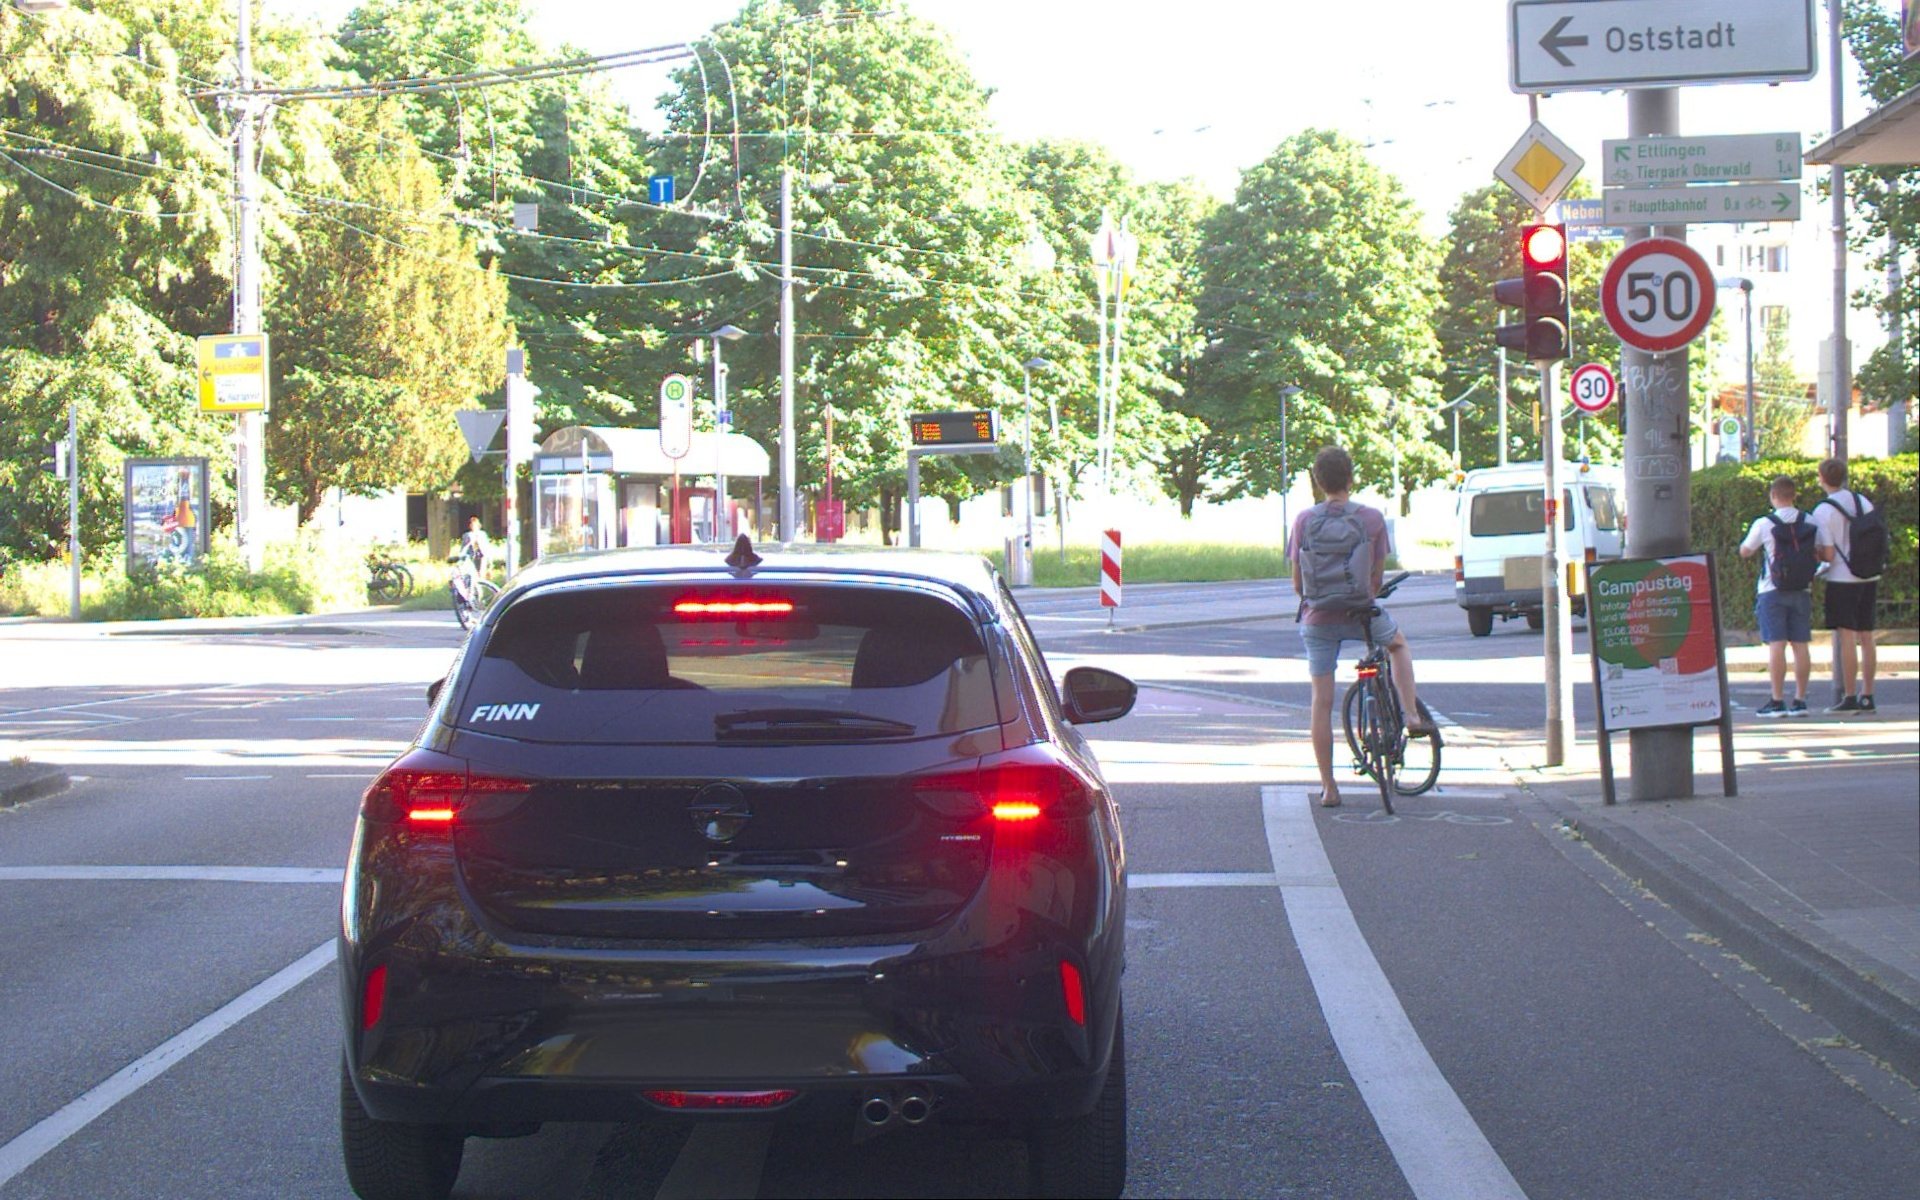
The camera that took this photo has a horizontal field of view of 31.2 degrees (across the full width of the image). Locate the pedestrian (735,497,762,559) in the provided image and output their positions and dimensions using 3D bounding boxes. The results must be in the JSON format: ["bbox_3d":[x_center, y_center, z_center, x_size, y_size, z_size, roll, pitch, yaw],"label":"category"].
[{"bbox_3d":[-6.379,-2.174,103.689,0.737,1.865,0.662,1,0,-6],"label":"pedestrian"}]

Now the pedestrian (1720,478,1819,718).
[{"bbox_3d":[6.025,-0.019,25.584,0.633,1.757,0.582,1,0,20],"label":"pedestrian"}]

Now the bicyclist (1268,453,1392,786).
[{"bbox_3d":[1.915,0.091,17.753,0.534,1.686,0.567,0,1,17],"label":"bicyclist"}]

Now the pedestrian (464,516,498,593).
[{"bbox_3d":[-9.217,-0.871,66.157,0.570,1.467,0.666,-1,1,-2],"label":"pedestrian"}]

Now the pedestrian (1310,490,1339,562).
[{"bbox_3d":[9.534,-1.933,89.987,0.603,1.865,0.519,1,0,-13],"label":"pedestrian"}]

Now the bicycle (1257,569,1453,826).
[{"bbox_3d":[2.086,0.471,17.945,0.753,1.231,2.014,0,1,14],"label":"bicycle"}]

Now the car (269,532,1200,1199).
[{"bbox_3d":[-0.469,0.566,8.808,1.840,1.457,3.984,0,1,-1],"label":"car"}]

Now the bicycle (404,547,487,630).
[{"bbox_3d":[-6.898,-0.168,46.196,0.796,1.061,2.185,0,1,-1],"label":"bicycle"}]

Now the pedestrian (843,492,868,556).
[{"bbox_3d":[-3.035,-2.208,100.181,0.620,1.865,0.519,1,0,8],"label":"pedestrian"}]

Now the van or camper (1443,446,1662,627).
[{"bbox_3d":[8.037,-0.838,46.283,2.031,2.302,4.535,1,1,21],"label":"van or camper"}]

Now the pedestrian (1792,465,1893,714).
[{"bbox_3d":[6.543,-0.082,25.472,0.633,1.814,0.744,1,0,20],"label":"pedestrian"}]
